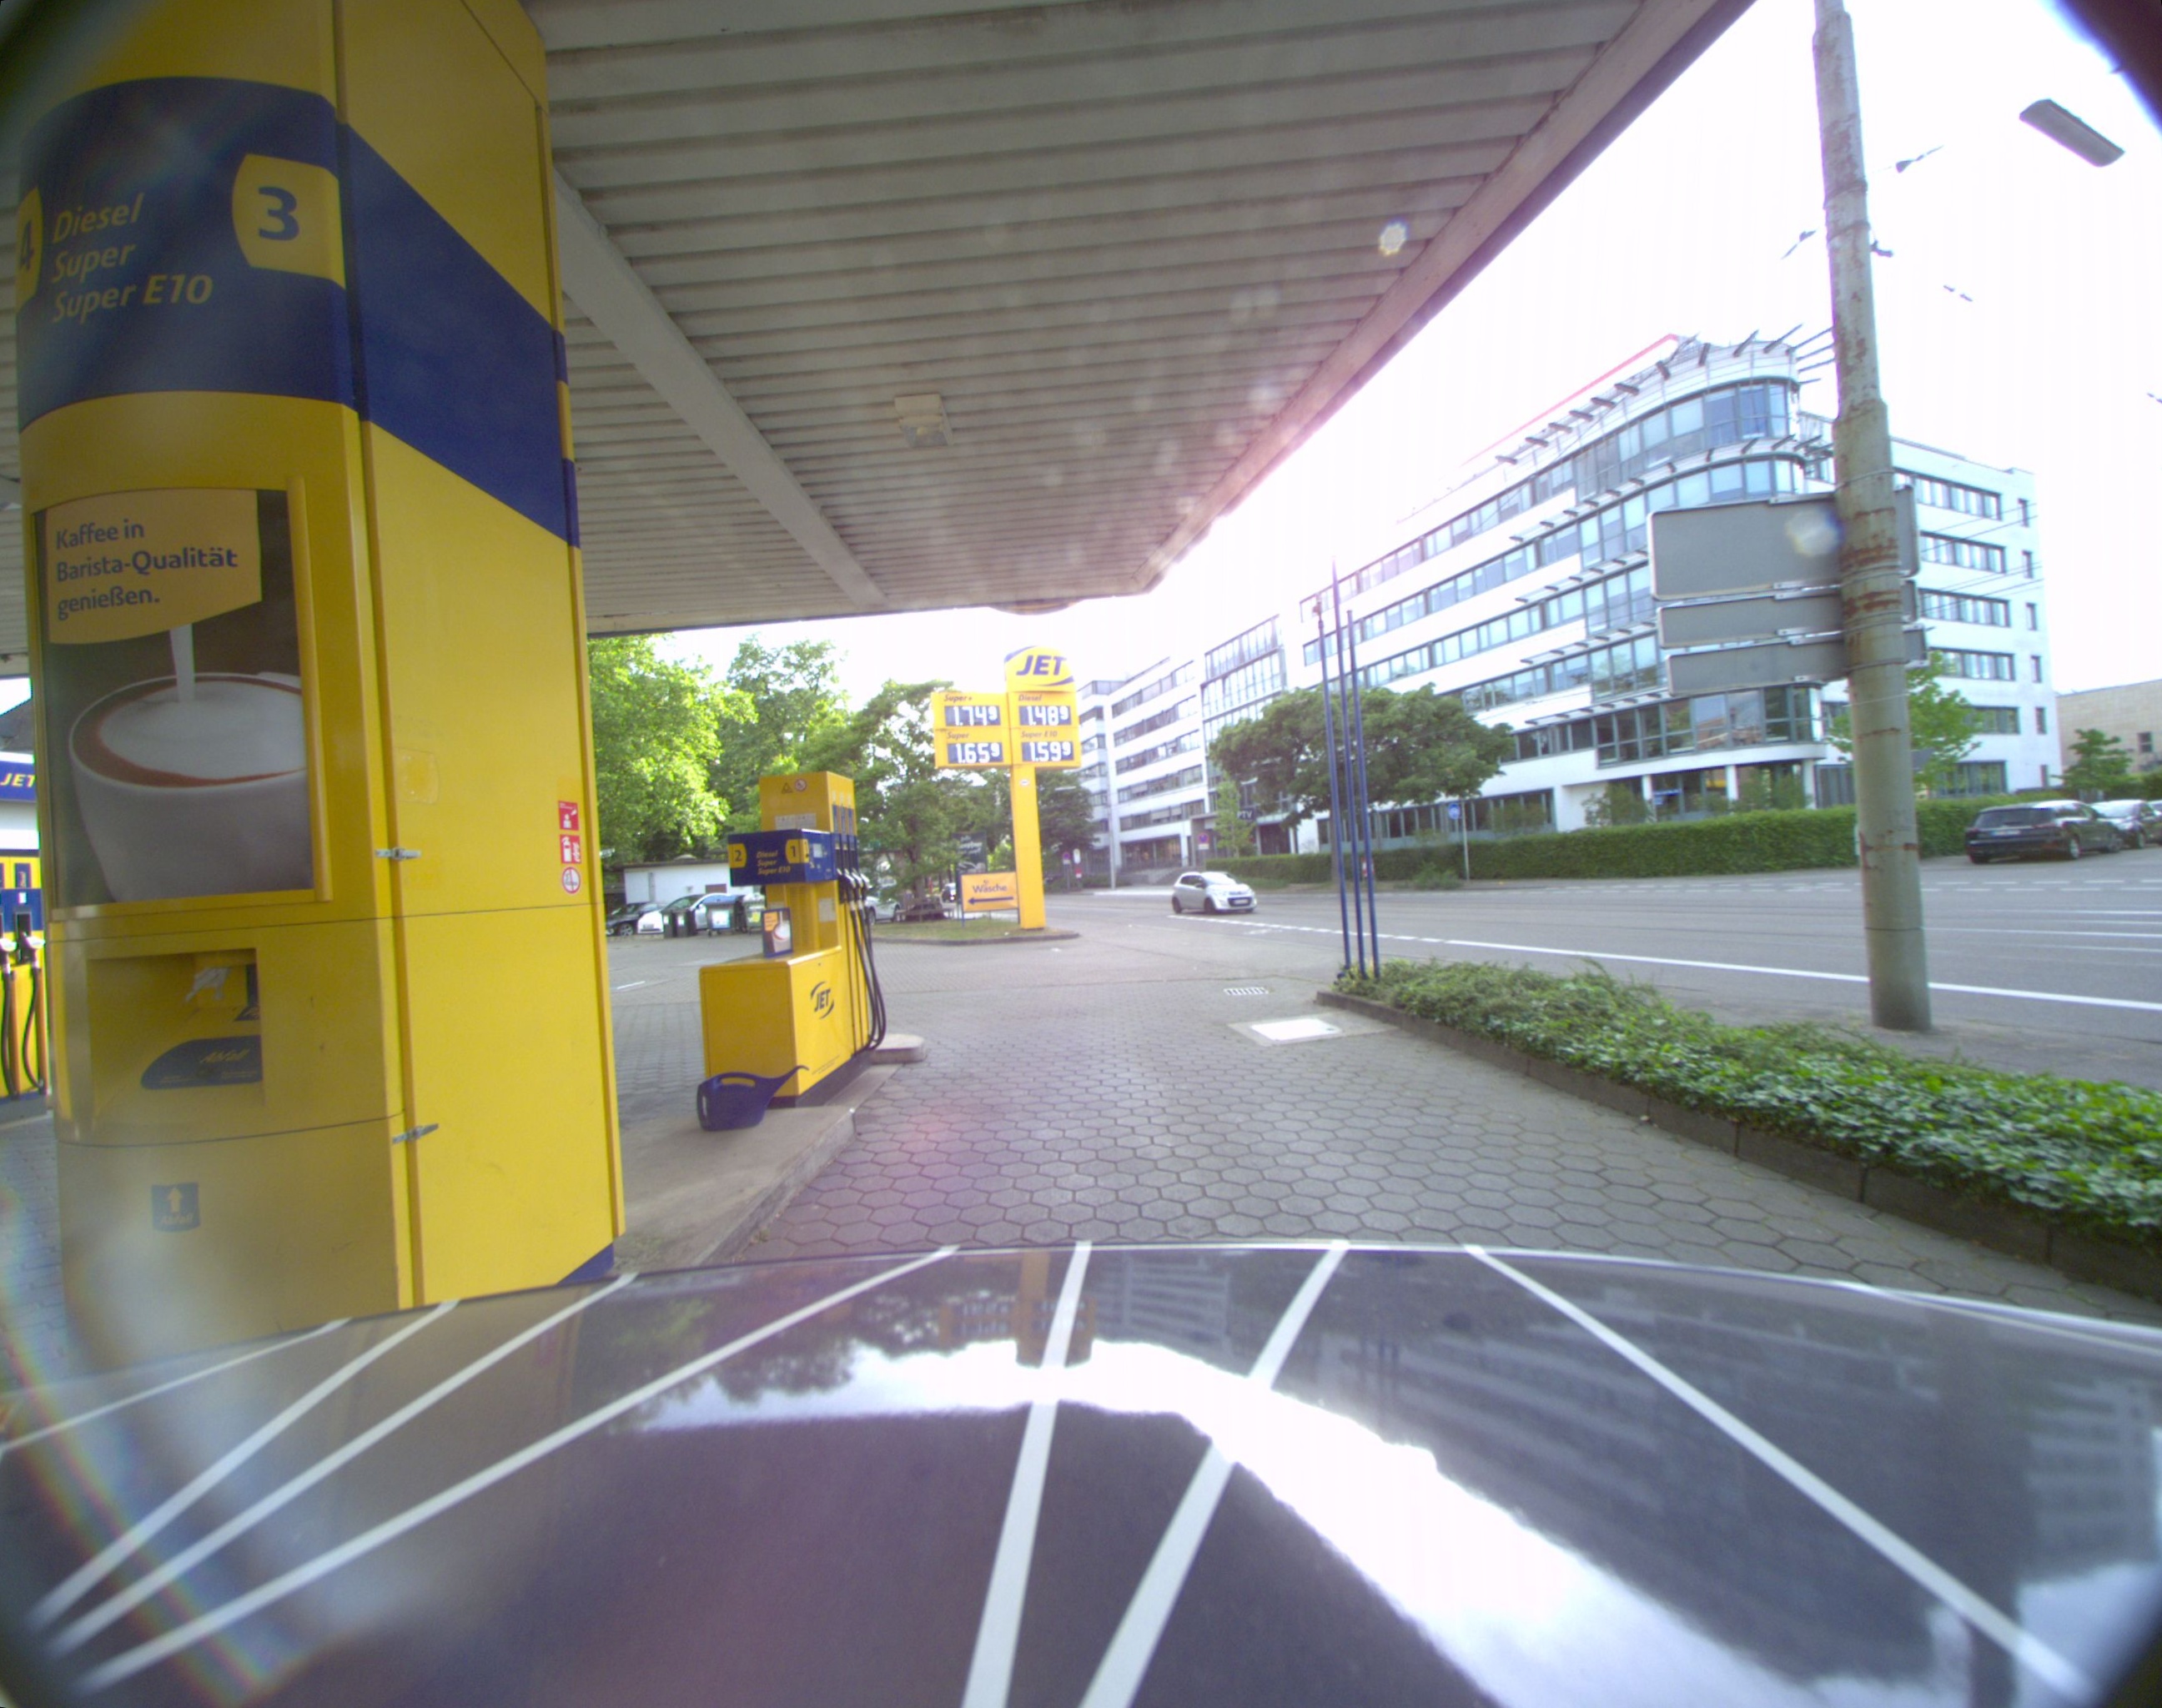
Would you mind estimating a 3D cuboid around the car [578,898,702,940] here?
[{"bbox_3d":[-17.795,2.586,30.907,1.771,1.367,4.398,-2,-1,14],"label":"car"}]

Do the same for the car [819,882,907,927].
[{"bbox_3d":[-8.637,1.997,30.501,1.772,1.591,4.398,-4,-3,6],"label":"car"}]

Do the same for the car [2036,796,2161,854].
[{"bbox_3d":[32.545,-0.944,24.093,4.296,1.530,1.945,-4,-1,-27],"label":"car"}]

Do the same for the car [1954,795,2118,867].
[{"bbox_3d":[27.274,-0.666,21.691,4.296,1.681,2.010,-4,-1,-27],"label":"car"}]

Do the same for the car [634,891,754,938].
[{"bbox_3d":[-15.293,2.361,30.313,1.771,1.591,4.398,-2,-1,14],"label":"car"}]

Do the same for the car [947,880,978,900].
[{"bbox_3d":[-9.706,2.951,62.125,1.691,1.463,3.806,-3,-1,-20],"label":"car"}]

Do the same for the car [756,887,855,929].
[{"bbox_3d":[-11.655,2.262,32.492,1.771,1.591,4.400,-4,-4,13],"label":"car"}]

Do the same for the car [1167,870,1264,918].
[{"bbox_3d":[4.535,1.357,26.129,1.691,1.424,3.422,-4,-1,-21],"label":"car"}]

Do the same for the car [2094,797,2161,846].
[{"bbox_3d":[37.127,-1.200,26.146,4.296,1.509,1.945,-4,-1,-27],"label":"car"}]
